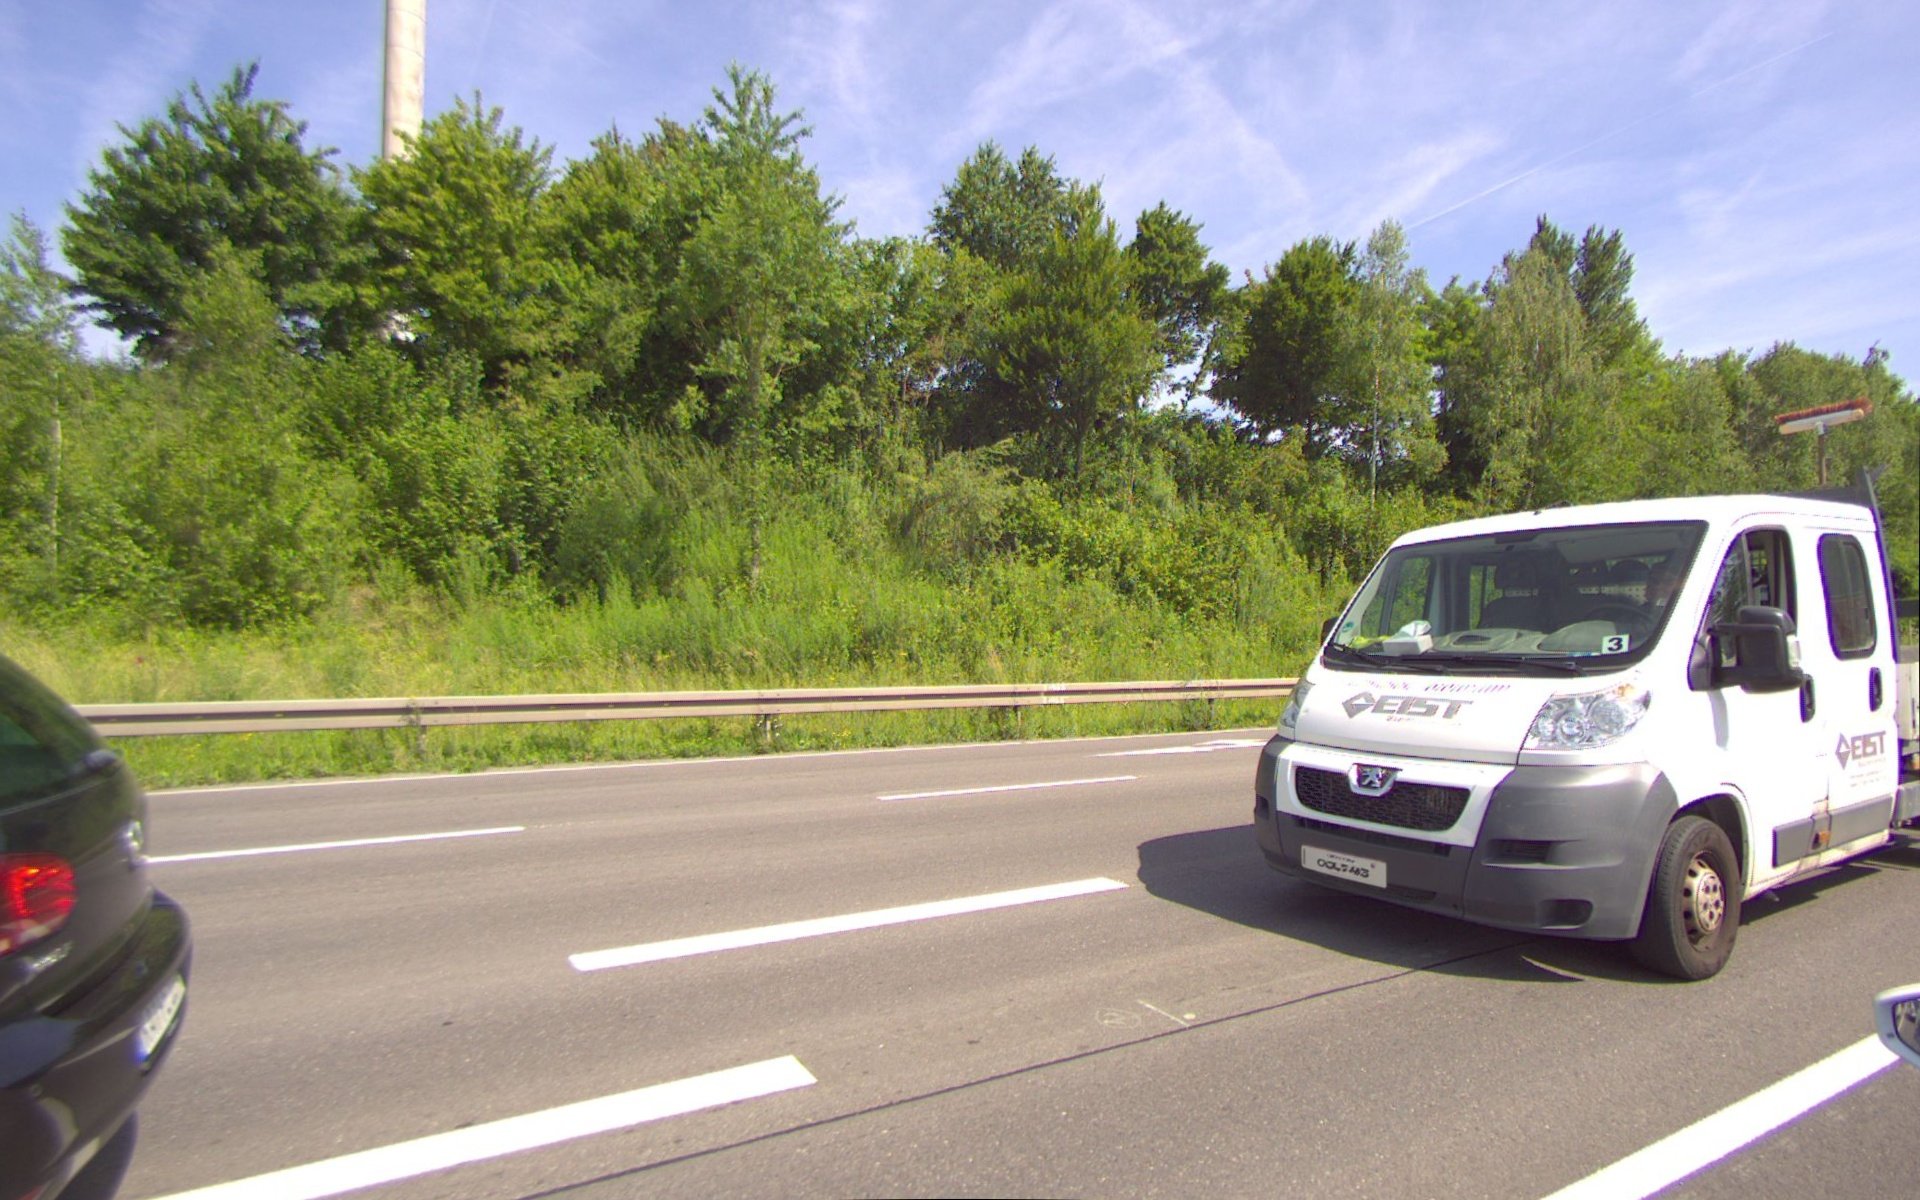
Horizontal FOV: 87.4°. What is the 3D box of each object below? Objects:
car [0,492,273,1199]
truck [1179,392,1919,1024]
[{"bbox_3d":[-3.466,0.587,1.318,4.061,1.572,1.703,2,-2,-31],"label":"car"},{"bbox_3d":[4.541,0.506,6.247,6.423,2.297,2.217,2,-2,-30],"label":"truck"}]
